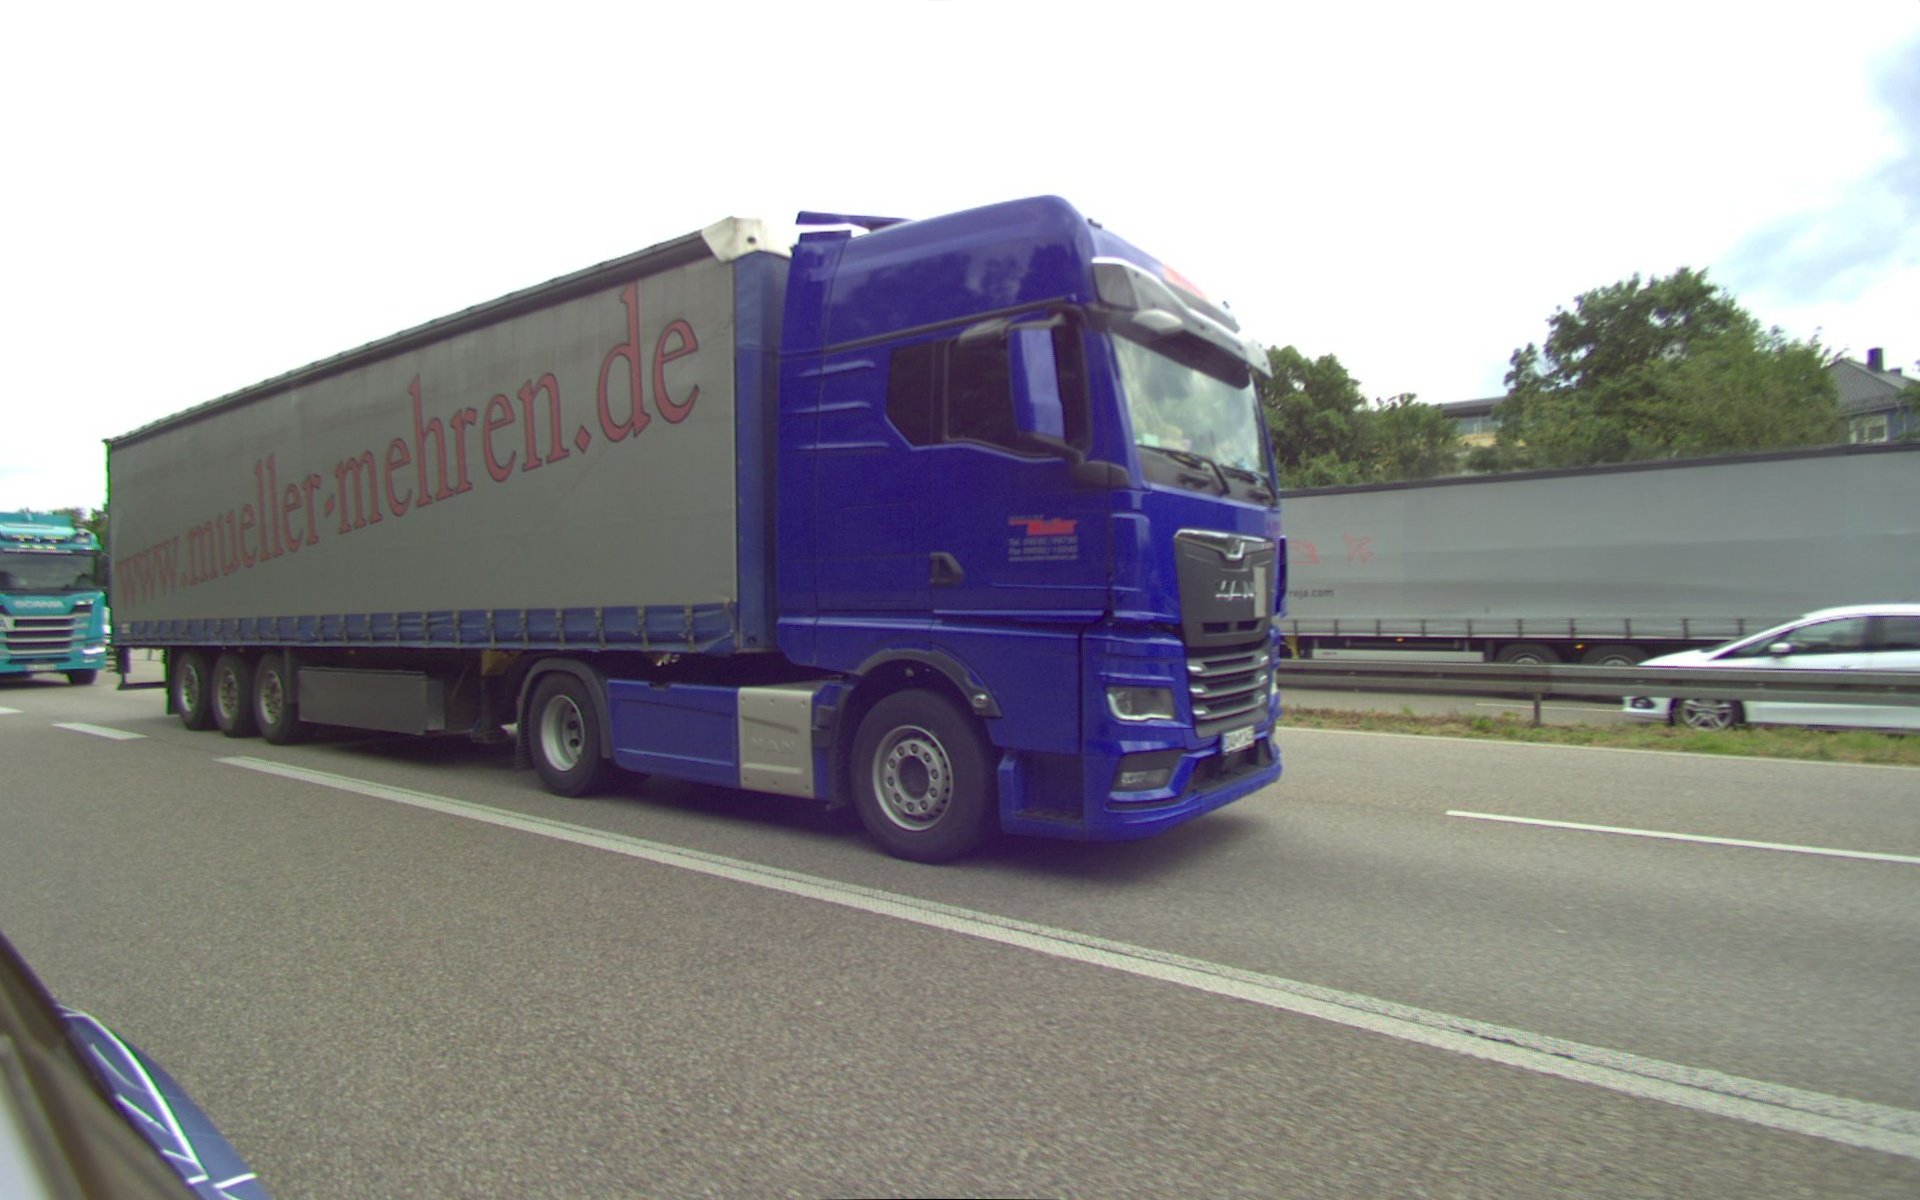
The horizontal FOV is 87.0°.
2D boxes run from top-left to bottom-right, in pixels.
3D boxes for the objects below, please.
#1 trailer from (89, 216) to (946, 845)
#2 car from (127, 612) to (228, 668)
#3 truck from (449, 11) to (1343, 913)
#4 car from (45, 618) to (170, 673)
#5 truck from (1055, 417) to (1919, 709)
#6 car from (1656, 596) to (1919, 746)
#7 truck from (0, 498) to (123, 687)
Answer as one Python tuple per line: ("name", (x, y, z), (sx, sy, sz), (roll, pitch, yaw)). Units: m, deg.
("trailer", (-6.305, -0.402, 11.580), (13.438, 4.053, 2.603), (-1, 0, 36))
("car", (-29.817, 1.501, 38.533), (3.991, 2.029, 1.976), (-1, -1, 35))
("truck", (-0.895, -0.607, 7.567), (6.577, 4.073, 2.538), (-1, 0, 37))
("car", (-26.281, 1.356, 31.188), (3.990, 1.583, 1.977), (-1, -1, 35))
("truck", (8.982, -0.392, 19.430), (14.858, 4.121, 2.958), (-1, -1, 37))
("car", (11.069, 0.815, 12.315), (4.204, 1.701, 1.586), (-1, -1, 37))
("truck", (-23.705, -0.029, 24.215), (11.306, 3.825, 2.903), (-1, -2, 36))
